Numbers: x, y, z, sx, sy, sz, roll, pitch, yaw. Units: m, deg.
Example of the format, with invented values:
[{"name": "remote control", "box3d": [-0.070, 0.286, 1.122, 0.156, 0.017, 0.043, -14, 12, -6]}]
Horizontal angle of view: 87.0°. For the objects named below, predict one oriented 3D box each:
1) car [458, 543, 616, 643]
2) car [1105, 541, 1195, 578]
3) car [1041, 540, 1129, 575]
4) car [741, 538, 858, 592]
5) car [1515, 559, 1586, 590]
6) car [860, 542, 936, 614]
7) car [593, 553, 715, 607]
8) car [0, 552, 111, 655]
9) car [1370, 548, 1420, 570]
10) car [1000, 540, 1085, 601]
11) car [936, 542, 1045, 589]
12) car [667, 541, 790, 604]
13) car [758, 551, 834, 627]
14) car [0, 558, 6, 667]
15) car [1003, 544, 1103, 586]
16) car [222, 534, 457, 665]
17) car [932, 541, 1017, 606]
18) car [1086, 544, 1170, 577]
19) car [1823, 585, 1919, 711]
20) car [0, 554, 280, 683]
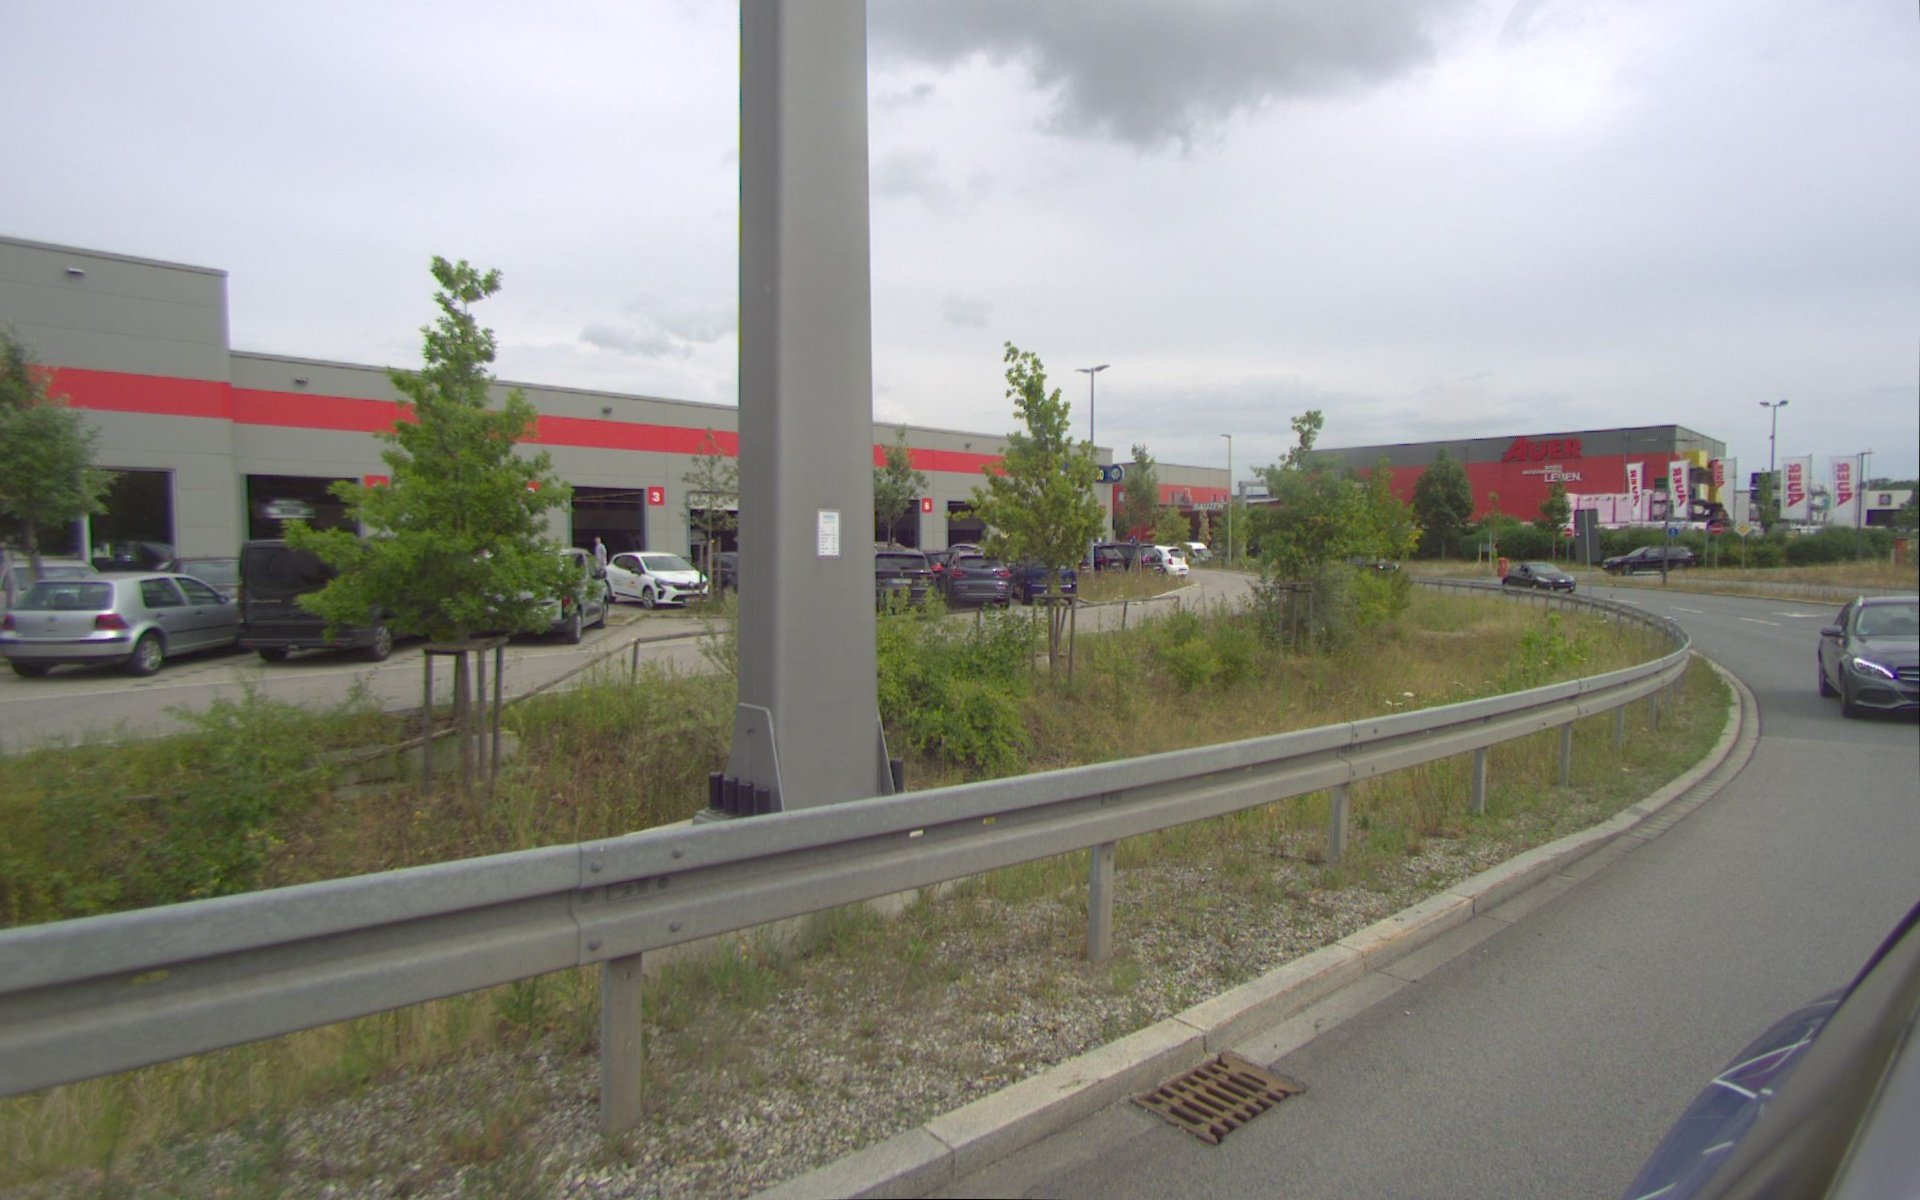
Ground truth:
[{"name": "car", "box3d": [-8.276, -0.240, 20.212, 1.867, 1.732, 4.086, 0, 4, -7]}, {"name": "car", "box3d": [8.489, -1.799, 45.292, 3.684, 1.564, 1.567, 0, 2, 42]}, {"name": "car", "box3d": [5.082, -1.732, 41.348, 3.309, 1.340, 1.459, 1, 2, 42]}, {"name": "car", "box3d": [-4.956, -1.055, 31.042, 3.684, 1.564, 1.567, 0, 2, 42]}, {"name": "car", "box3d": [27.718, -1.222, 47.617, 1.739, 1.334, 3.945, -1, 2, 13]}, {"name": "car", "box3d": [-1.641, -0.565, 25.706, 1.702, 1.642, 4.083, 1, 1, -6]}, {"name": "car", "box3d": [-8.279, -0.582, 27.234, 3.686, 1.339, 1.459, 3, 4, 42]}, {"name": "car", "box3d": [-16.528, 0.032, 18.053, 3.684, 1.658, 1.567, 0, 2, 42]}, {"name": "car", "box3d": [29.661, -2.823, 69.184, 1.828, 1.429, 4.552, -1, 3, 6]}, {"name": "car", "box3d": [2.466, -0.974, 31.310, 1.701, 1.641, 4.087, 1, 4, -8]}, {"name": "car", "box3d": [1.045, -1.193, 35.856, 3.684, 1.564, 1.567, 0, 2, 42]}, {"name": "car", "box3d": [-6.636, -0.768, 28.824, 3.684, 1.658, 1.567, 0, 2, 42]}, {"name": "car", "box3d": [-3.946, -0.338, 24.318, 1.616, 1.642, 4.086, 1, 3, -9]}, {"name": "car", "box3d": [-14.660, 0.351, 12.793, 1.735, 1.598, 4.087, 0, 5, -9]}, {"name": "car", "box3d": [3.626, -1.358, 39.817, 3.684, 1.564, 1.567, 0, 2, 42]}, {"name": "car", "box3d": [-10.389, -0.127, 17.363, 1.867, 1.930, 4.086, 1, 4, -7]}, {"name": "car", "box3d": [0.350, -0.826, 29.271, 1.792, 1.641, 4.087, 1, 4, -8]}, {"name": "car", "box3d": [7.156, -1.695, 43.272, 3.310, 1.339, 1.459, 2, 3, 42]}, {"name": "car", "box3d": [12.400, 0.531, 12.937, 1.755, 1.438, 4.037, -1, 0, 36]}, {"name": "car", "box3d": [-12.660, 0.171, 15.705, 1.736, 1.598, 4.085, 1, 4, -5]}]
